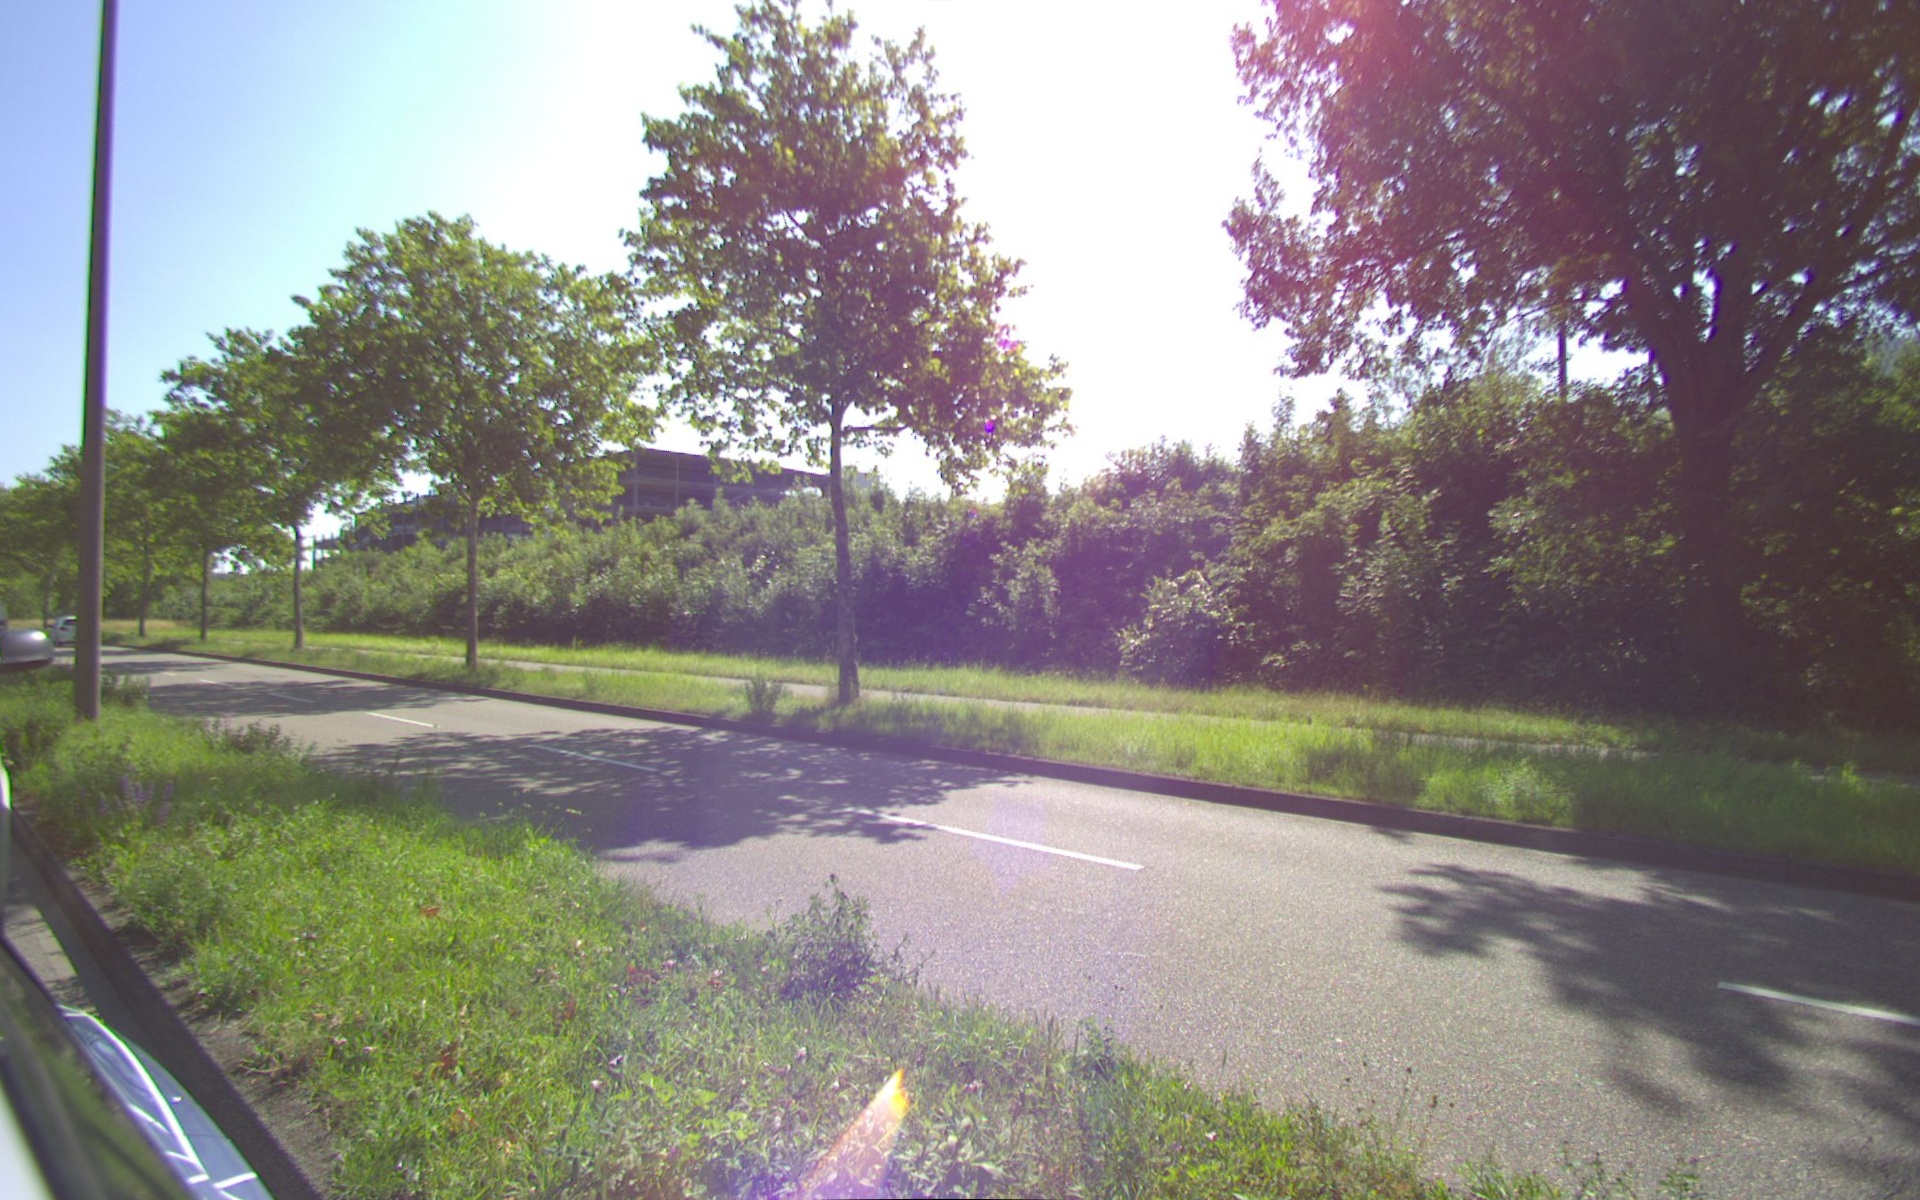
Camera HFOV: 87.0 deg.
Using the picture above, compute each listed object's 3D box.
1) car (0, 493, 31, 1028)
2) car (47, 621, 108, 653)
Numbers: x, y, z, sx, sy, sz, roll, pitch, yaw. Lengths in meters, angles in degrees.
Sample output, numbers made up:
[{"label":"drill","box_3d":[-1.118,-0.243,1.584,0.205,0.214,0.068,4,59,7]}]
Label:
[{"label":"car","box_3d":[-5.837,0.580,4.576,4.879,1.915,1.848,-1,-2,41]},{"label":"car","box_3d":[-43.175,1.806,49.499,3.998,1.519,1.682,-2,-3,41]}]
